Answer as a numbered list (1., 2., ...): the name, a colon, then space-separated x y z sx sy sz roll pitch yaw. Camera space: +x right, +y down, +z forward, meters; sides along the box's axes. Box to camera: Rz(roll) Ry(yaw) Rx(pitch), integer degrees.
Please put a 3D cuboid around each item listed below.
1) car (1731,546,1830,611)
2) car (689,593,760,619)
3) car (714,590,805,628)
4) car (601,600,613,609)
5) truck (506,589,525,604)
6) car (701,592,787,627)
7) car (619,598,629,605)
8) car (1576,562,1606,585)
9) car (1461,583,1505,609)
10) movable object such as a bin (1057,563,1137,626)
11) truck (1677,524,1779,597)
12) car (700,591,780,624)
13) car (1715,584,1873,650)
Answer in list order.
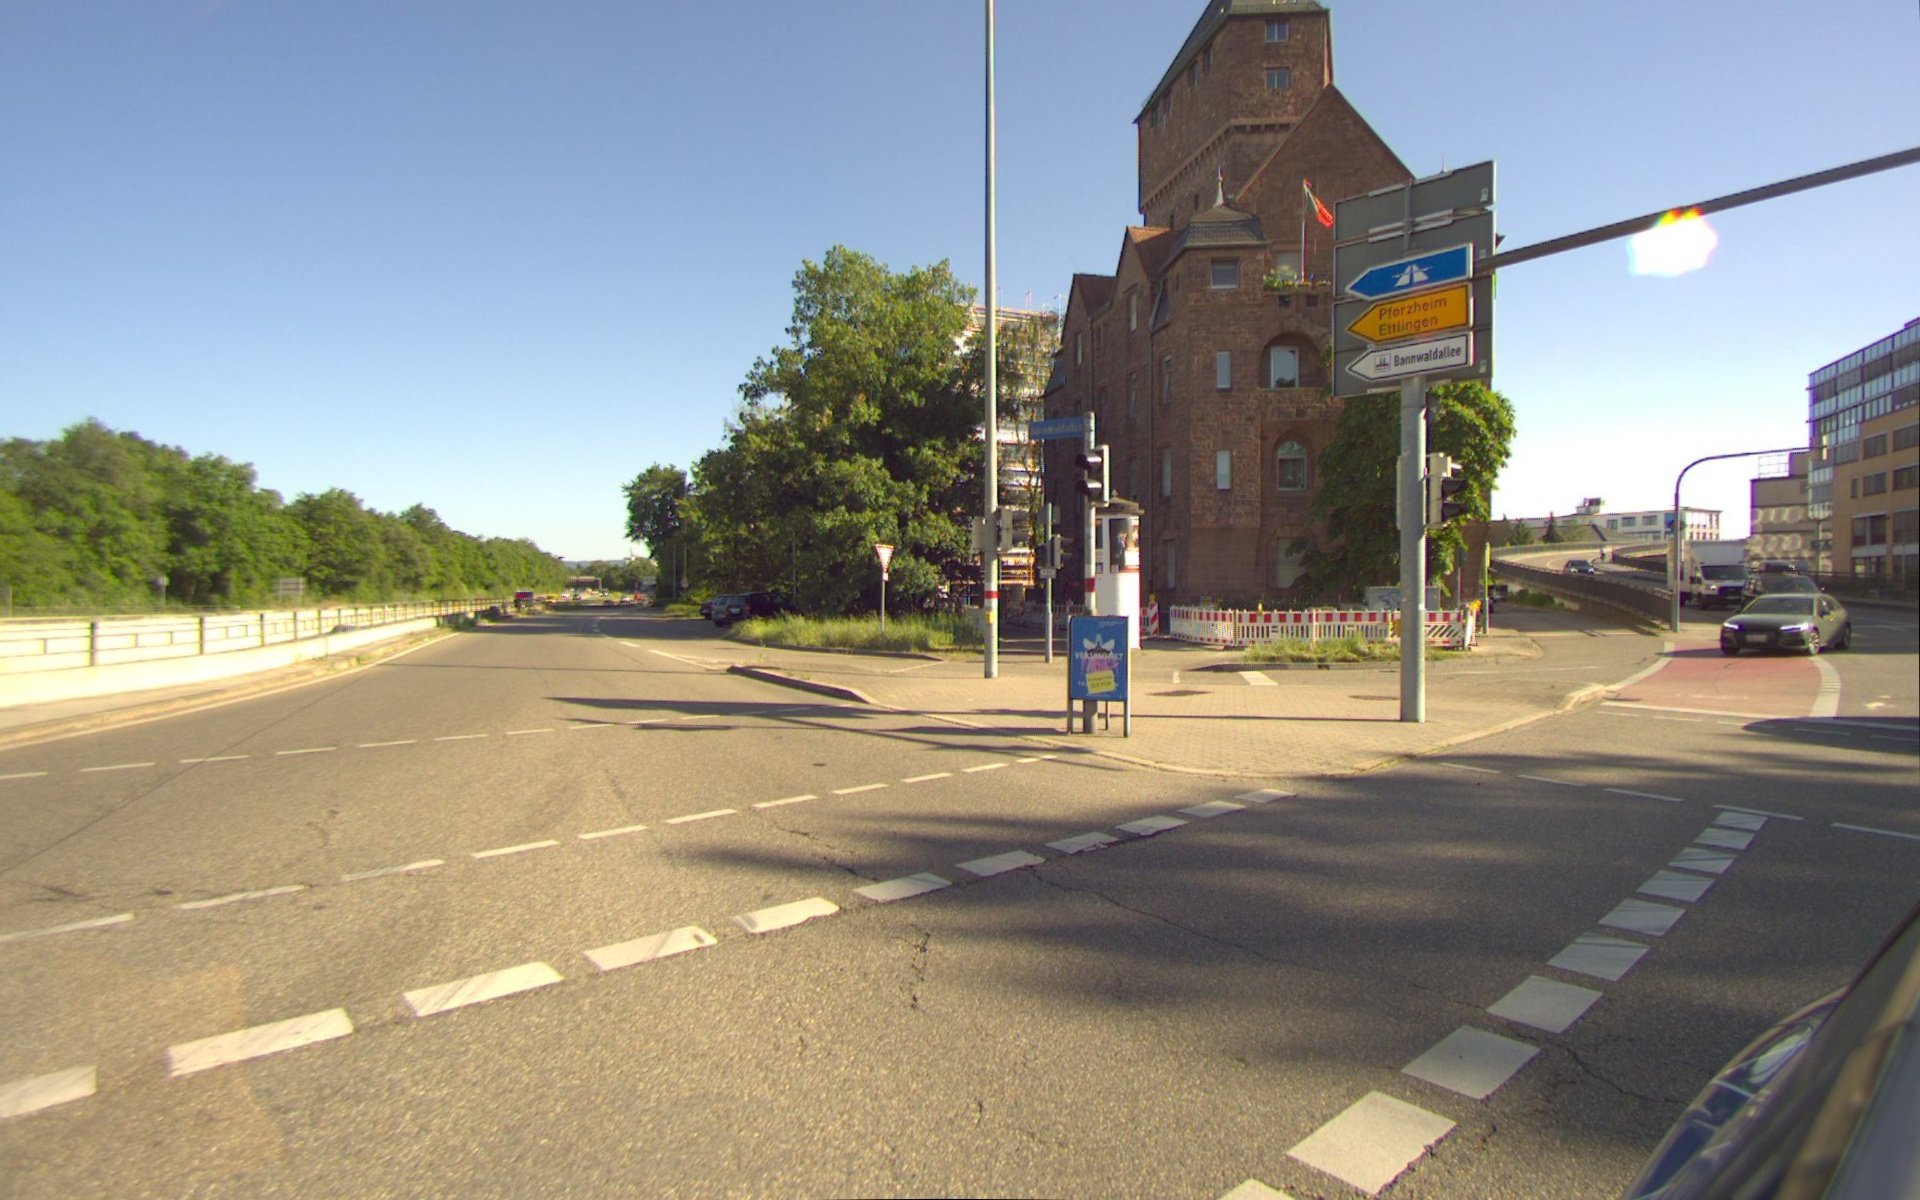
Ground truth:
1. car: 30.812 -0.776 38.150 1.933 2.290 4.740 0 1 27
2. car: -13.661 0.330 58.835 1.985 1.472 3.738 0 1 33
3. car: -8.880 0.365 45.117 1.985 1.581 3.738 0 1 33
4. car: -64.399 0.849 184.727 1.958 1.415 4.008 -3 1 -18
5. truck: -73.693 -0.590 167.897 2.239 2.416 5.395 -3 1 -18
6. car: -10.191 0.402 48.014 1.985 1.581 3.738 0 1 33
7. car: -72.066 0.290 217.249 1.958 1.415 4.008 -3 1 -18
8. car: 52.364 -2.173 84.041 1.741 1.781 4.740 0 1 27
9. car: 32.979 -0.270 63.878 2.030 1.551 4.063 -1 0 22
10. movable object such as a bin: 5.501 -0.240 41.097 1.958 2.440 4.008 0 1 -12
11. truck: 36.106 -1.760 47.822 2.478 3.167 6.899 0 1 25
12. car: -11.251 0.353 51.931 1.985 1.581 3.738 0 1 33
13. car: 20.803 0.354 25.194 4.548 1.489 1.880 -1 1 -35
